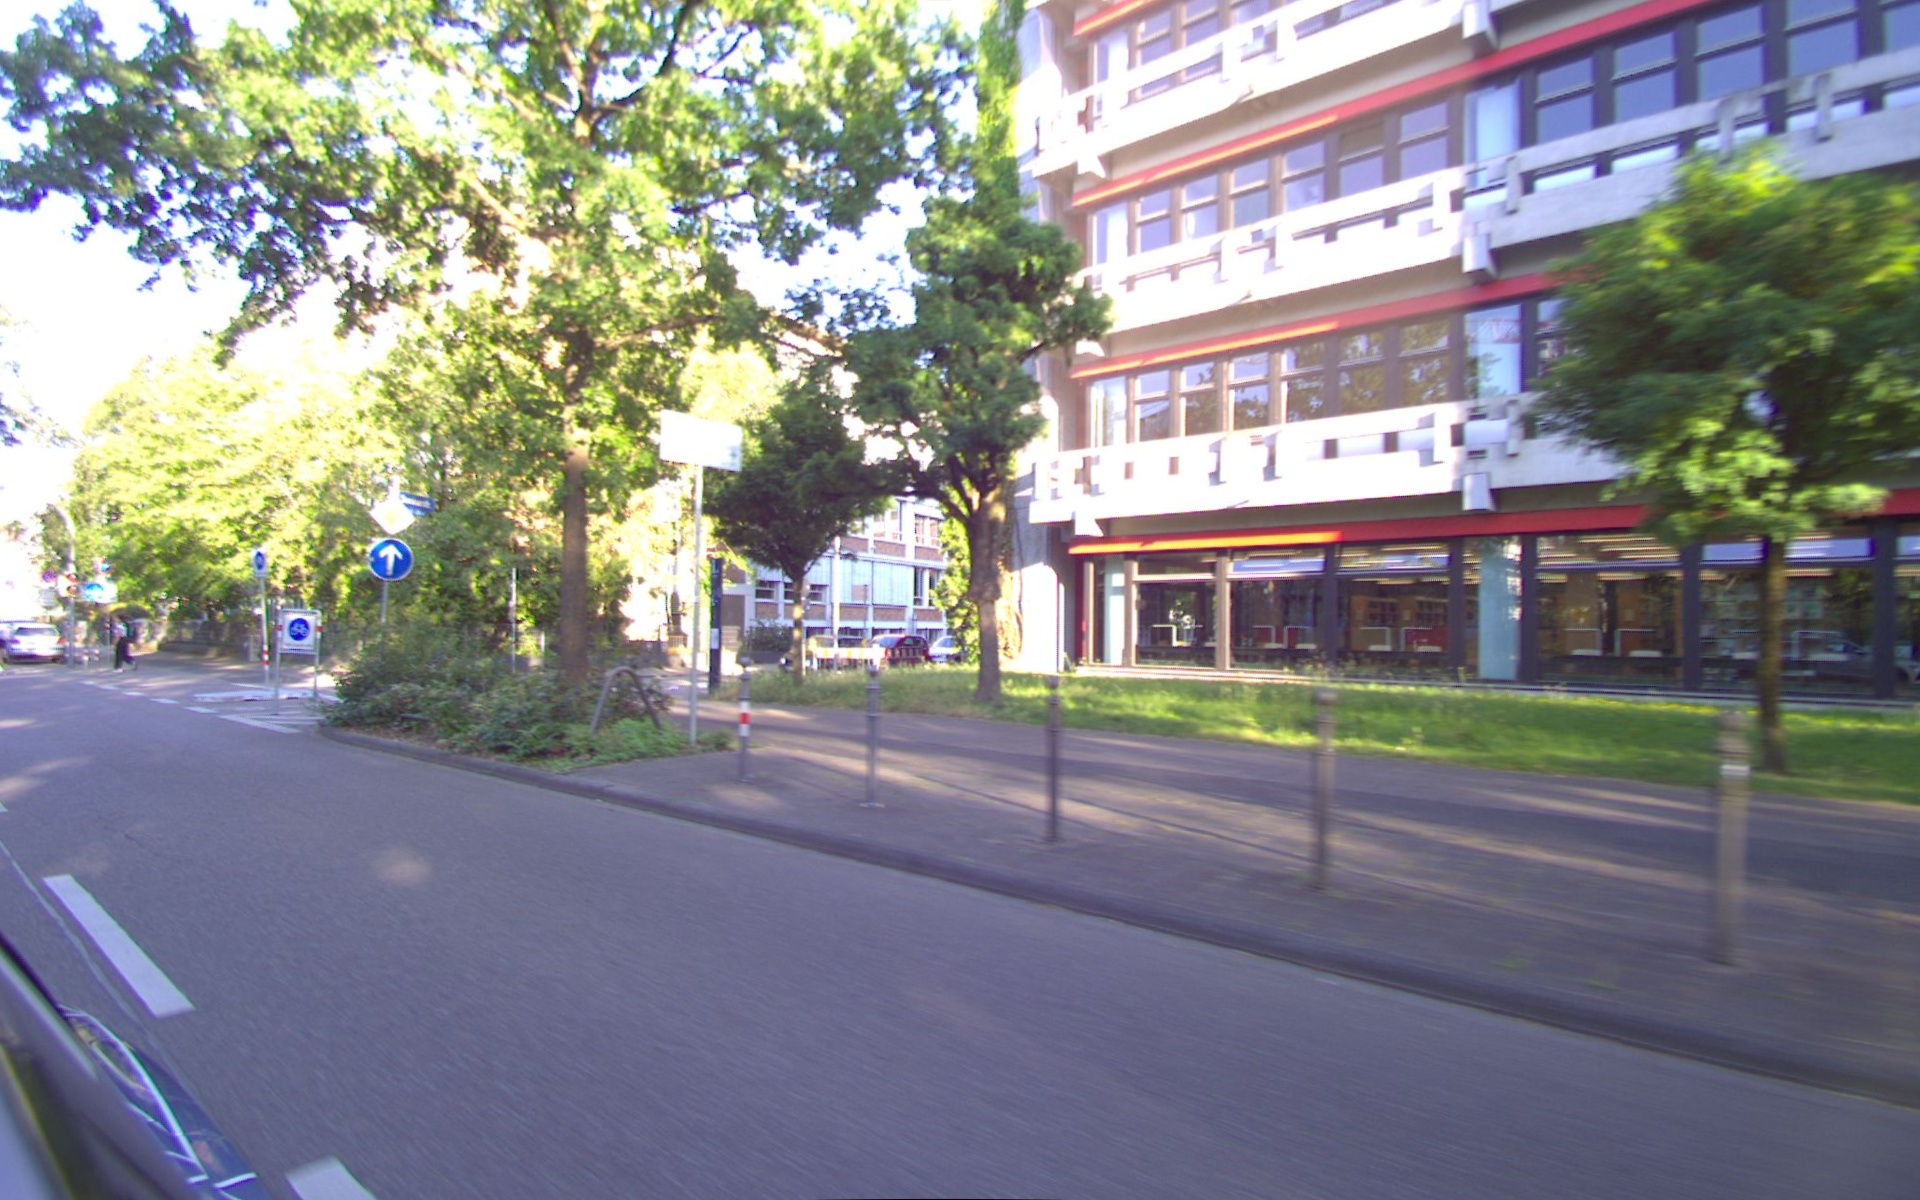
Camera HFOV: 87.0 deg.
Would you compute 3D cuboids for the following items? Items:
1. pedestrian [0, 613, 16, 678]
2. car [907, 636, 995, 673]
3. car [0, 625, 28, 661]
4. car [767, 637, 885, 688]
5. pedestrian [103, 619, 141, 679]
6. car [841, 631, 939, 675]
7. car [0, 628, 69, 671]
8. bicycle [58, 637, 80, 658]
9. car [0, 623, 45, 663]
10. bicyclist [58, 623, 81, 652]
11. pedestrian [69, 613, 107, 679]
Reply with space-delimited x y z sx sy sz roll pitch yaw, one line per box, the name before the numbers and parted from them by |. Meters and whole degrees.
pedestrian | -27.627 1.299 29.027 0.673 1.850 0.773 -2 -1 44
car | -0.291 2.121 39.831 1.770 1.301 3.762 2 -1 30
car | -43.055 1.909 45.168 4.107 1.580 1.753 -2 -2 41
car | -4.268 1.979 32.837 1.770 1.460 3.922 2 -1 30
pedestrian | -24.577 1.426 29.686 0.673 1.688 0.773 -2 -1 44
car | -2.452 1.875 36.305 1.770 1.417 3.608 2 -1 30
car | -34.418 1.796 37.397 4.107 1.494 1.753 -2 -2 41
bicycle | -45.202 2.403 51.350 2.147 1.021 0.617 -2 -3 43
car | -38.997 1.735 41.474 4.107 1.580 1.753 -2 -2 41
bicyclist | -45.091 1.903 51.249 1.060 1.465 0.742 -2 -3 43
pedestrian | -25.182 1.307 29.224 0.673 1.850 0.773 -2 -1 44
